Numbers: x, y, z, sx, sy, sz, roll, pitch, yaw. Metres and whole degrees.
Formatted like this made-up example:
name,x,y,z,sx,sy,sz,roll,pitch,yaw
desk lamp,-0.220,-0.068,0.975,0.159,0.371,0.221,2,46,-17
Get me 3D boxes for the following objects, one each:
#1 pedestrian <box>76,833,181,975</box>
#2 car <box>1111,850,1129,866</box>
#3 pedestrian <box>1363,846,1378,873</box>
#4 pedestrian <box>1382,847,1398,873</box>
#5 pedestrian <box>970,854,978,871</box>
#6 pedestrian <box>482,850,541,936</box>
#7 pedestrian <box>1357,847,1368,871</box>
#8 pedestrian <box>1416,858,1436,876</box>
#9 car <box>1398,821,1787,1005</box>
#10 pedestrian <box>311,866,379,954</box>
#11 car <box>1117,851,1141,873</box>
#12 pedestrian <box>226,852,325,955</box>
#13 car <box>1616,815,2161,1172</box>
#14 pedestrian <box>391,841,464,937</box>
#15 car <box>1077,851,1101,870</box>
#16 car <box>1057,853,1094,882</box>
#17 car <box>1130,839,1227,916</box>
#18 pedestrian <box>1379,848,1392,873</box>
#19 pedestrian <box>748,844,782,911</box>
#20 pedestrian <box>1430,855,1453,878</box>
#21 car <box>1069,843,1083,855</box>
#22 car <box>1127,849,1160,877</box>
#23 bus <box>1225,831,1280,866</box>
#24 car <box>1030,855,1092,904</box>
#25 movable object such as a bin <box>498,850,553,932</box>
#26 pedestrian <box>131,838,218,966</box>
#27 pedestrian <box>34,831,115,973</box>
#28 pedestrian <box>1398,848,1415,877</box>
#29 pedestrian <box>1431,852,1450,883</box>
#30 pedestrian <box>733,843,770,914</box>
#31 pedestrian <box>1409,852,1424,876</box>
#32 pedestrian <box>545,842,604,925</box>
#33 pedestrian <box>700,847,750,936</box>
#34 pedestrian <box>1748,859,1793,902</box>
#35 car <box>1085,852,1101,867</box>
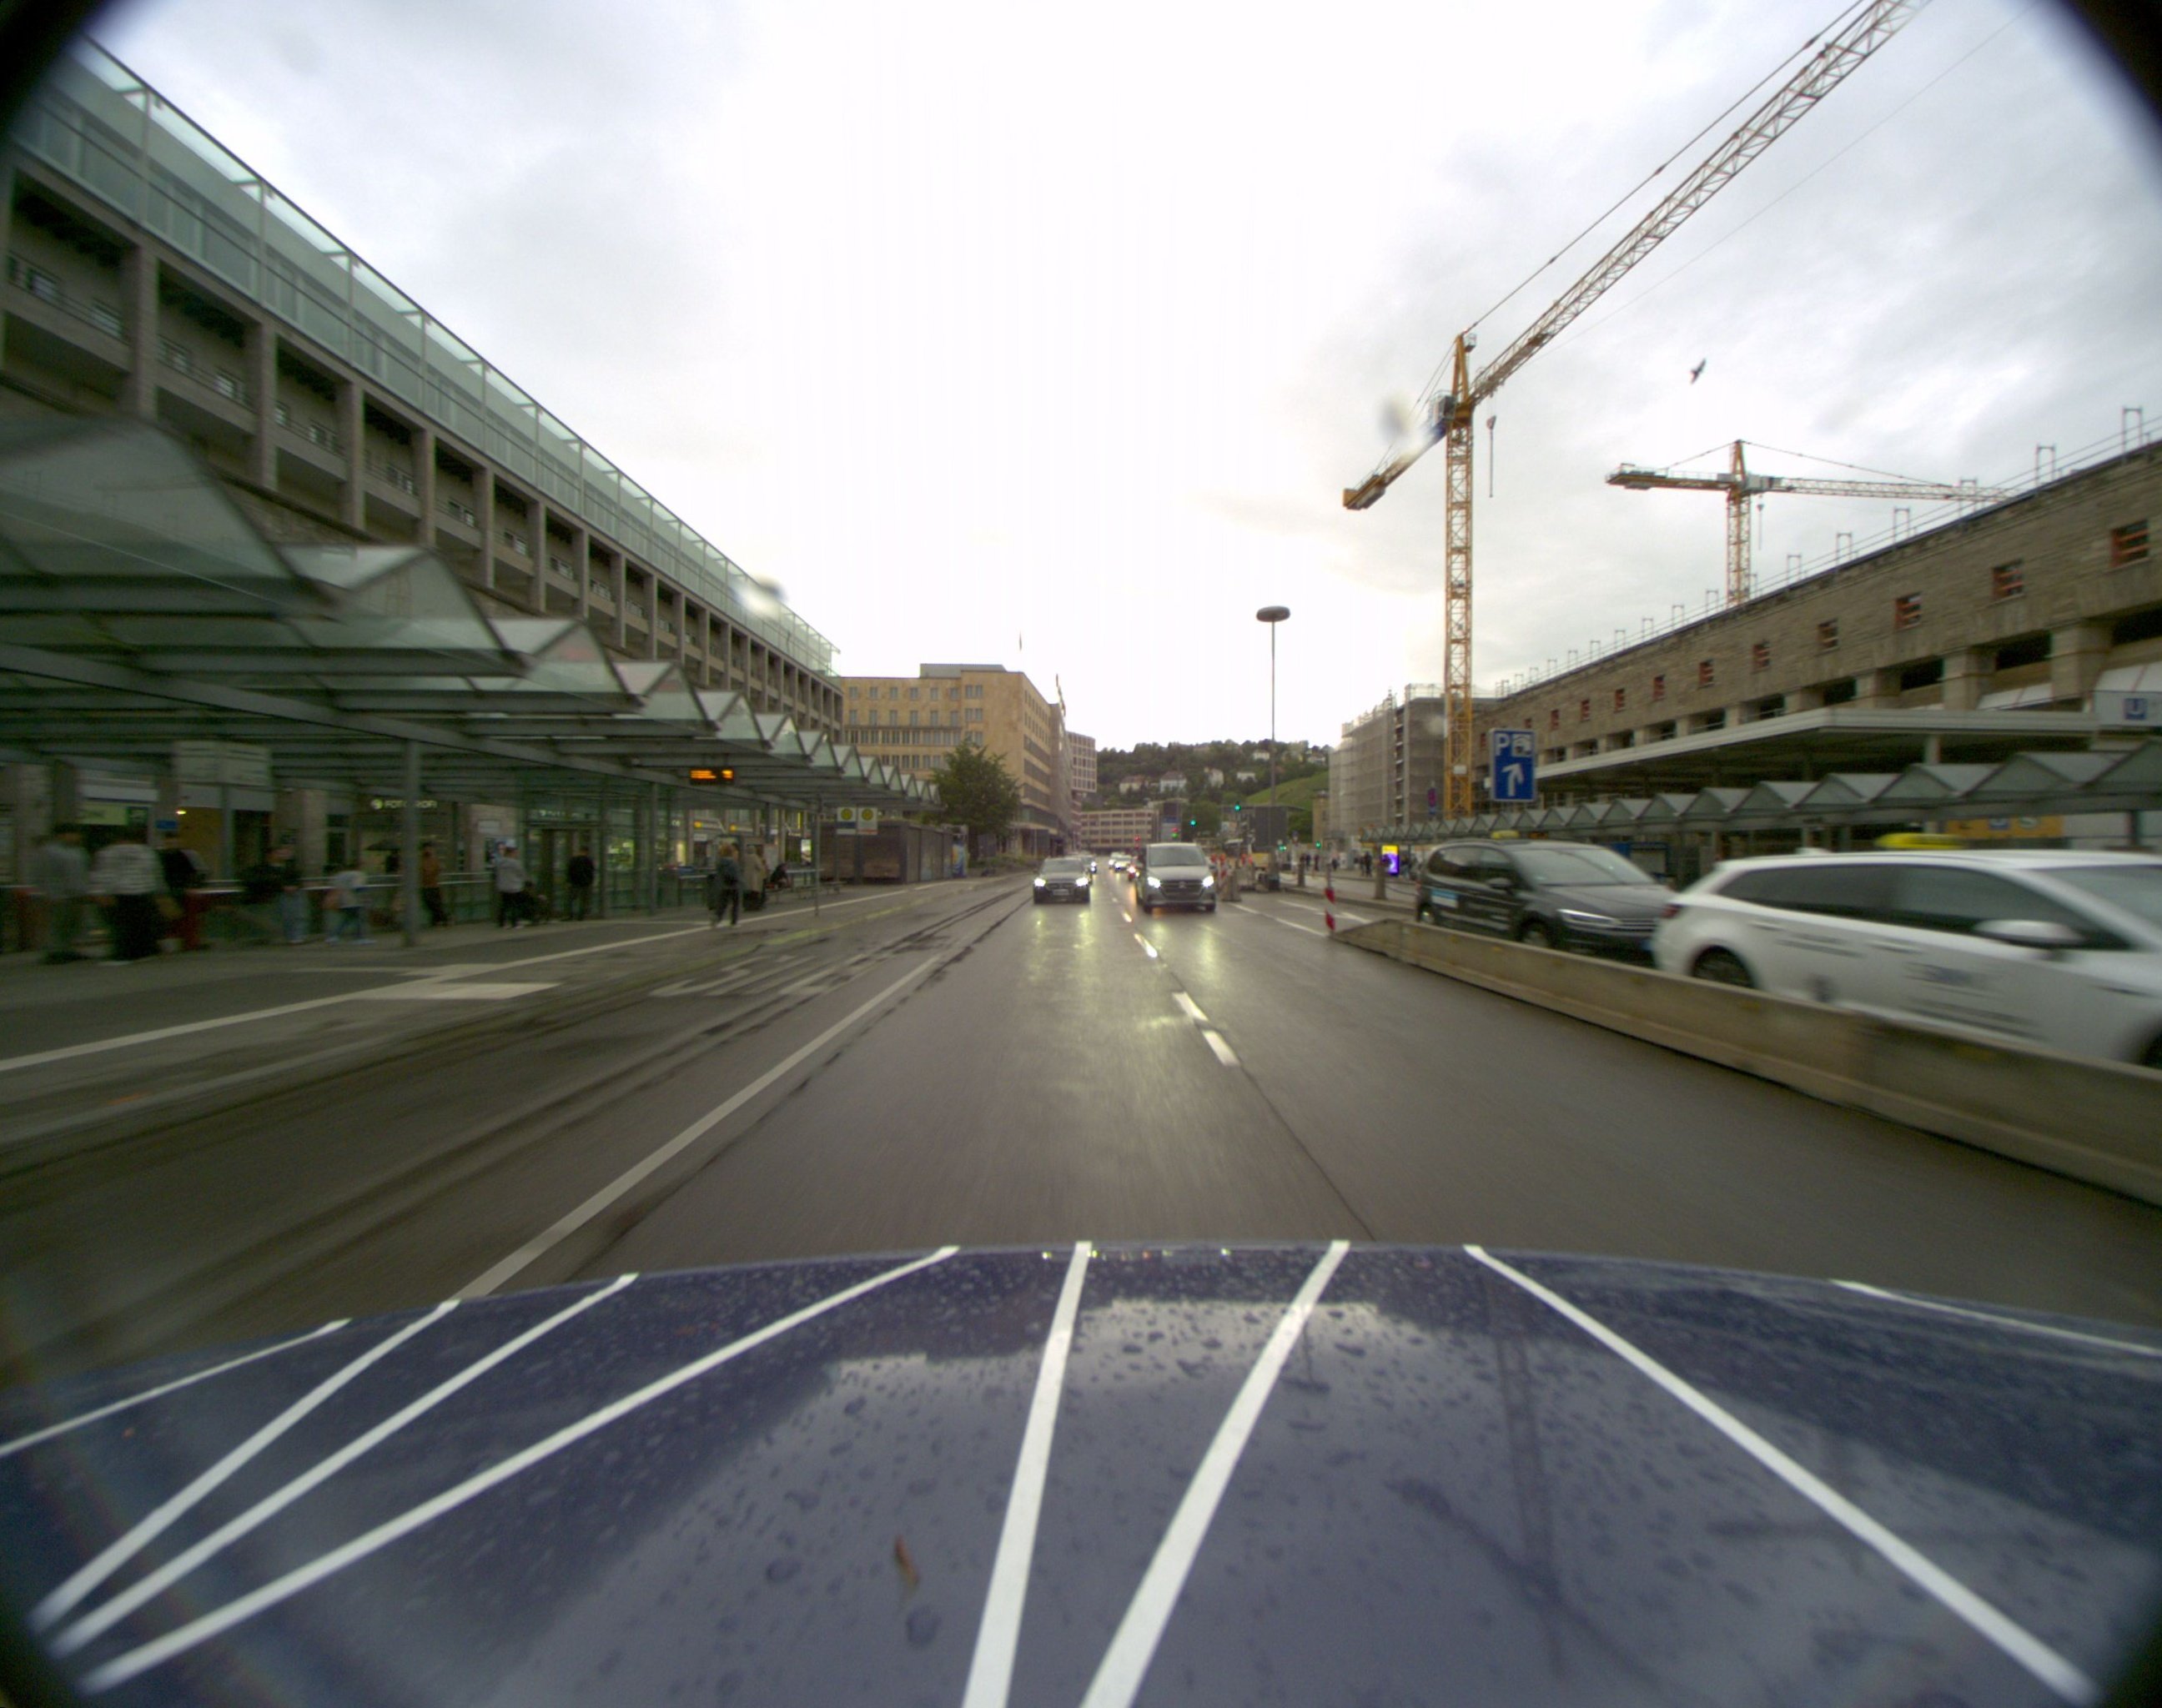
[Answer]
name,x,y,z,sx,sy,sz,roll,pitch,yaw
pedestrian,-12.793,0.649,10.224,0.608,1.849,0.625,0,1,10
car,4.311,0.400,84.599,1.872,1.715,3.901,-1,1,1
pedestrian,21.267,0.396,55.850,0.761,1.947,0.822,-1,1,-2
pedestrian,21.531,0.422,52.953,0.726,1.780,0.747,-1,1,-5
pedestrian,-10.880,0.862,77.245,0.699,1.741,0.837,-1,1,-1
pedestrian,-11.266,0.756,15.067,0.762,1.645,0.678,-1,1,-23
pedestrian,21.938,0.387,59.174,0.700,1.780,0.795,0,1,13
pedestrian,22.417,0.840,49.374,0.846,1.087,0.926,-1,1,0
car,6.150,0.575,10.074,1.998,1.851,4.832,0,1,2
pedestrian,-11.837,0.894,12.234,0.553,1.369,0.508,-1,1,-4
car,4.223,0.678,67.568,1.872,1.747,3.901,-1,1,1
pedestrian,-13.046,0.778,12.328,0.752,1.599,0.761,-1,1,-4
car,6.114,0.656,4.796,1.999,1.696,4.831,0,1,-1
pedestrian,-12.845,0.669,14.957,0.752,1.837,0.761,-1,1,-3
car,0.720,0.507,65.334,1.998,1.549,3.908,0,1,2
car,-0.274,0.694,42.463,1.876,1.499,4.164,0,1,2
car,2.641,0.573,21.880,1.999,1.893,5.249,-2,1,-1
pedestrian,21.849,0.489,54.501,0.557,1.780,0.805,-1,1,-7
pedestrian,-8.791,0.648,21.186,0.629,1.826,0.641,-1,1,3
pedestrian,22.460,0.763,47.355,1.057,1.424,0.831,-1,1,0
car,-0.806,-0.791,123.772,1.998,1.873,4.997,0,1,2
car,3.640,0.496,44.741,1.709,1.485,3.670,-1,1,1
bus,19.210,-0.637,86.674,2.916,3.557,19.079,1,1,3
car,-0.595,0.825,26.448,1.822,1.455,4.700,-2,1,2
movable object such as a bin,-11.582,0.741,15.876,0.665,1.643,1.046,-1,1,-22
pedestrian,-13.273,0.676,11.141,0.608,1.820,0.592,-1,1,-28
pedestrian,-13.807,0.633,10.427,0.596,1.863,0.592,0,1,34
pedestrian,20.552,0.520,48.045,0.776,1.780,0.861,-1,1,8
pedestrian,21.195,0.804,44.752,0.674,1.780,0.781,-1,1,-36
pedestrian,-8.639,0.634,19.941,0.677,1.826,0.574,-1,1,3
pedestrian,23.237,0.710,52.623,0.557,1.621,0.805,-1,1,-7
pedestrian,-11.311,0.641,16.982,0.751,1.826,0.762,0,1,16
pedestrian,-6.964,0.701,14.899,0.762,1.680,0.997,-1,1,-20
pedestrian,21.918,0.834,24.178,0.701,1.318,0.805,-1,1,-1
car,1.490,0.654,92.112,1.763,1.582,3.842,-1,1,2
